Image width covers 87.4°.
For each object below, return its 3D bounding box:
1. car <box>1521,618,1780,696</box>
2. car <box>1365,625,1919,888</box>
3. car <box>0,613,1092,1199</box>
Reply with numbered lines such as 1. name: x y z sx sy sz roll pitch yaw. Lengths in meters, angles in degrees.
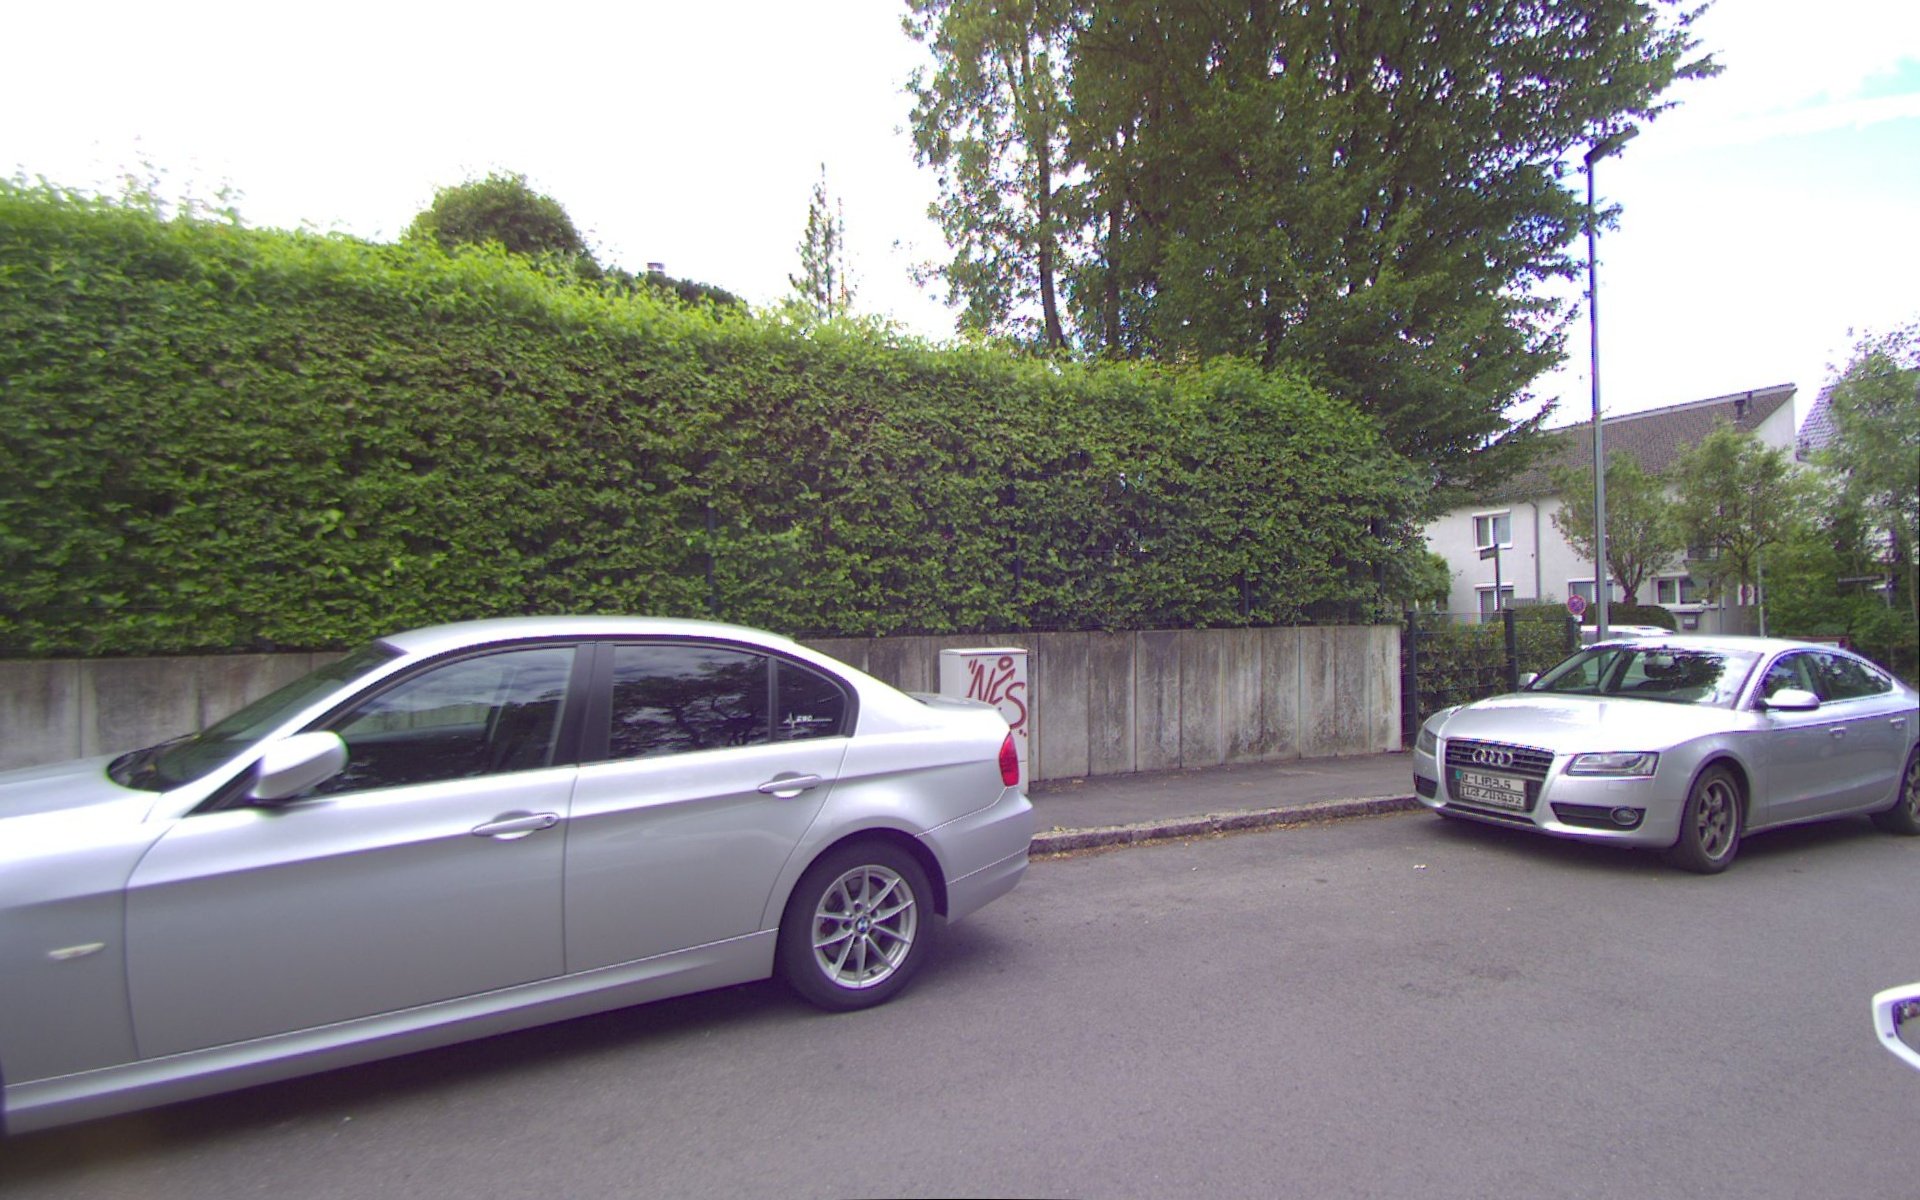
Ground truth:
1. car: 16.705 1.310 24.647 2.010 1.692 4.920 2 -1 -26
2. car: 5.215 0.908 7.318 4.389 1.392 1.824 1 0 -28
3. car: -1.727 0.768 3.757 4.293 1.392 1.765 1 0 -33
